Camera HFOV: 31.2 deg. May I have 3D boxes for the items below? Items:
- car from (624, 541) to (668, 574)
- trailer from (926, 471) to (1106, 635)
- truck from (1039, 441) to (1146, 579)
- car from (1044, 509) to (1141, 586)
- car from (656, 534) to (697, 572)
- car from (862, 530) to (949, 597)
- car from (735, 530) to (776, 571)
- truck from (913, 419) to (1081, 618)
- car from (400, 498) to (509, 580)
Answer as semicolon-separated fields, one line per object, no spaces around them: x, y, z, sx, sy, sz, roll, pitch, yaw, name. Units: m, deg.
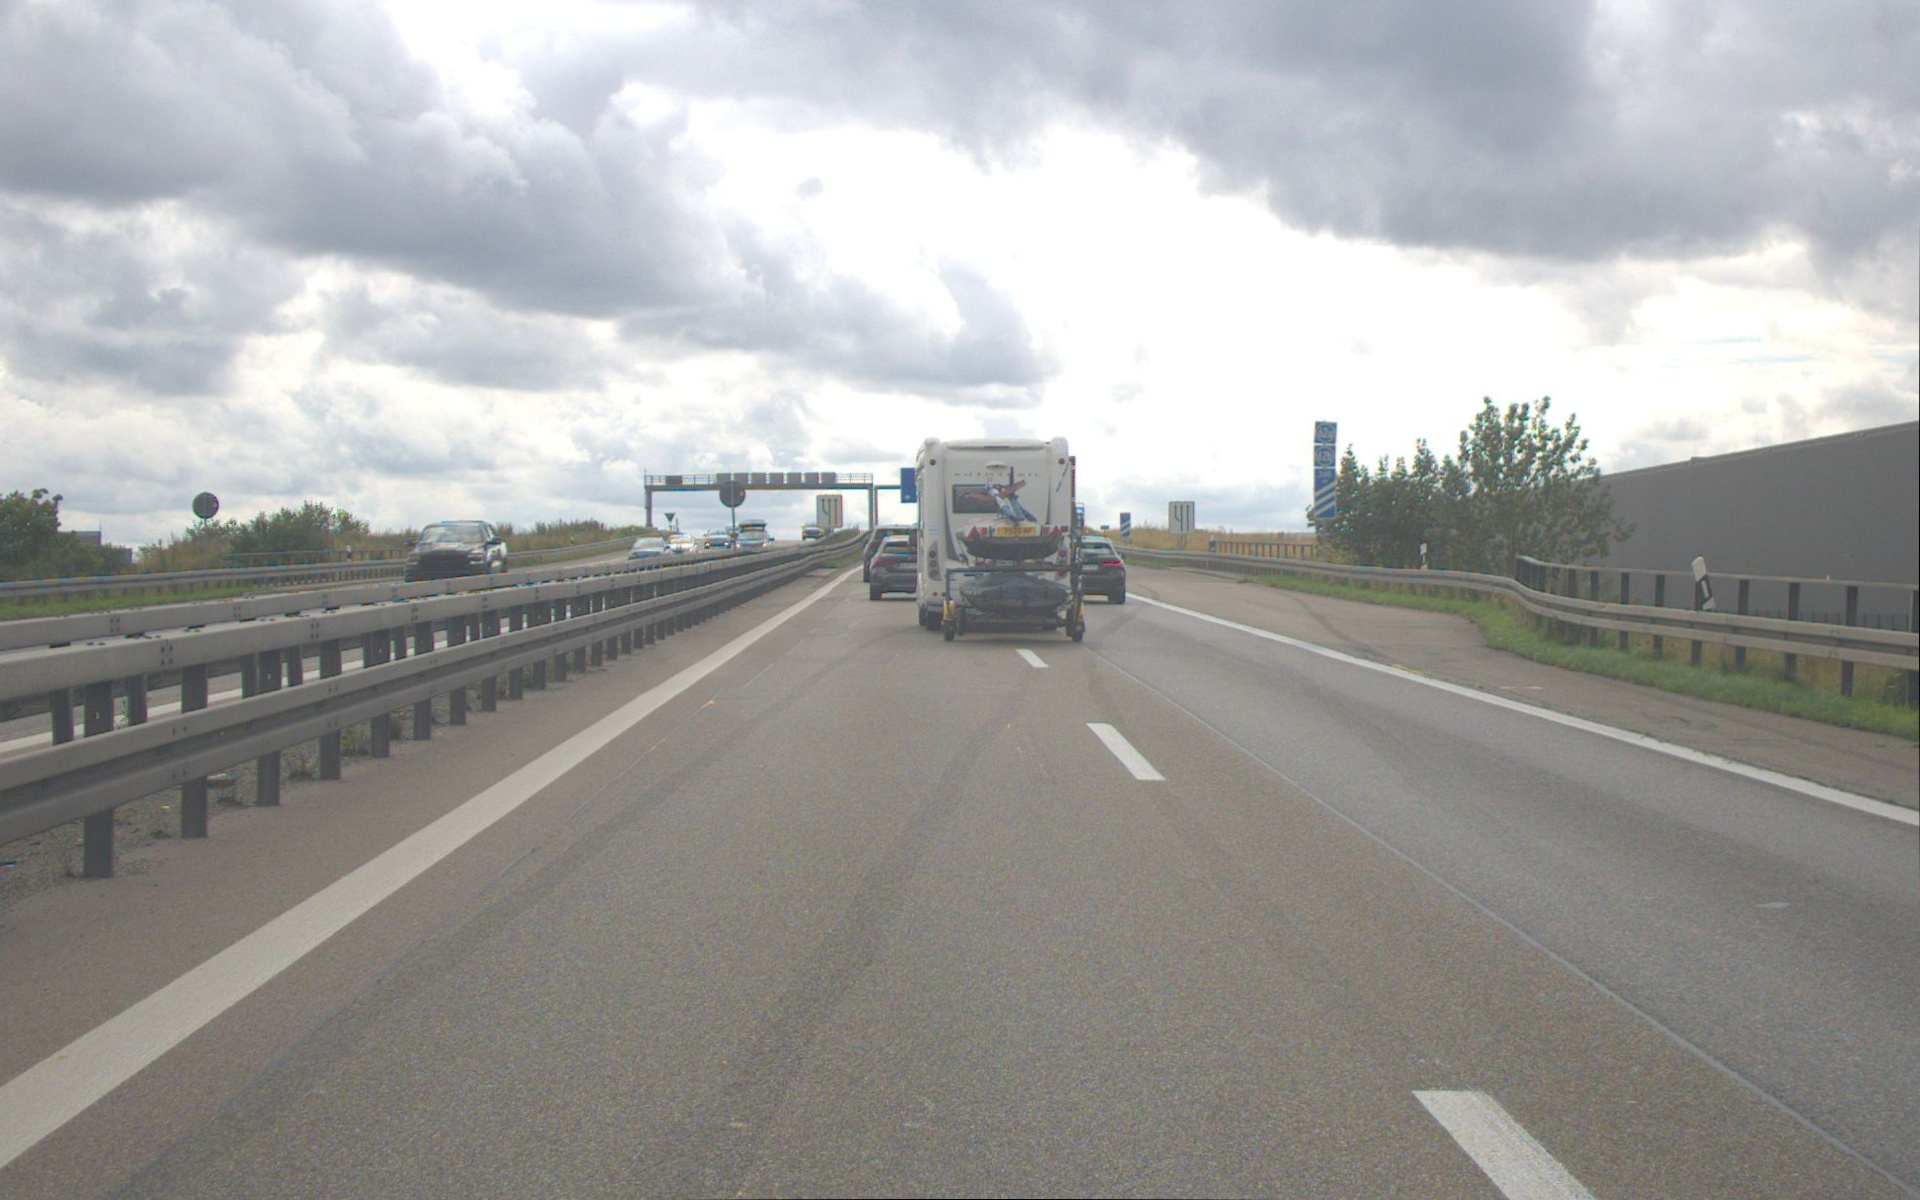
-14.590;-1.991;159.731;1.756;1.463;4.561;0;1;-2;car
0.798;-0.620;46.936;2.338;2.129;4.000;-1;0;2;trailer
4.458;-2.981;116.935;3.246;4.510;7.066;-1;0;-1;truck
2.871;-1.130;75.326;1.882;1.615;4.000;-1;0;-1;car
-15.171;-2.507;184.305;1.993;2.007;4.384;-1;0;-3;car
-1.212;-0.815;77.517;1.746;1.448;4.000;-1;0;2;car
-10.260;-2.507;172.436;1.993;2.007;4.384;0;1;-3;car
0.551;-1.227;54.243;2.482;2.940;5.815;-1;0;0;truck
-12.933;-1.593;88.316;1.993;2.007;6.103;-1;1;-1;car
